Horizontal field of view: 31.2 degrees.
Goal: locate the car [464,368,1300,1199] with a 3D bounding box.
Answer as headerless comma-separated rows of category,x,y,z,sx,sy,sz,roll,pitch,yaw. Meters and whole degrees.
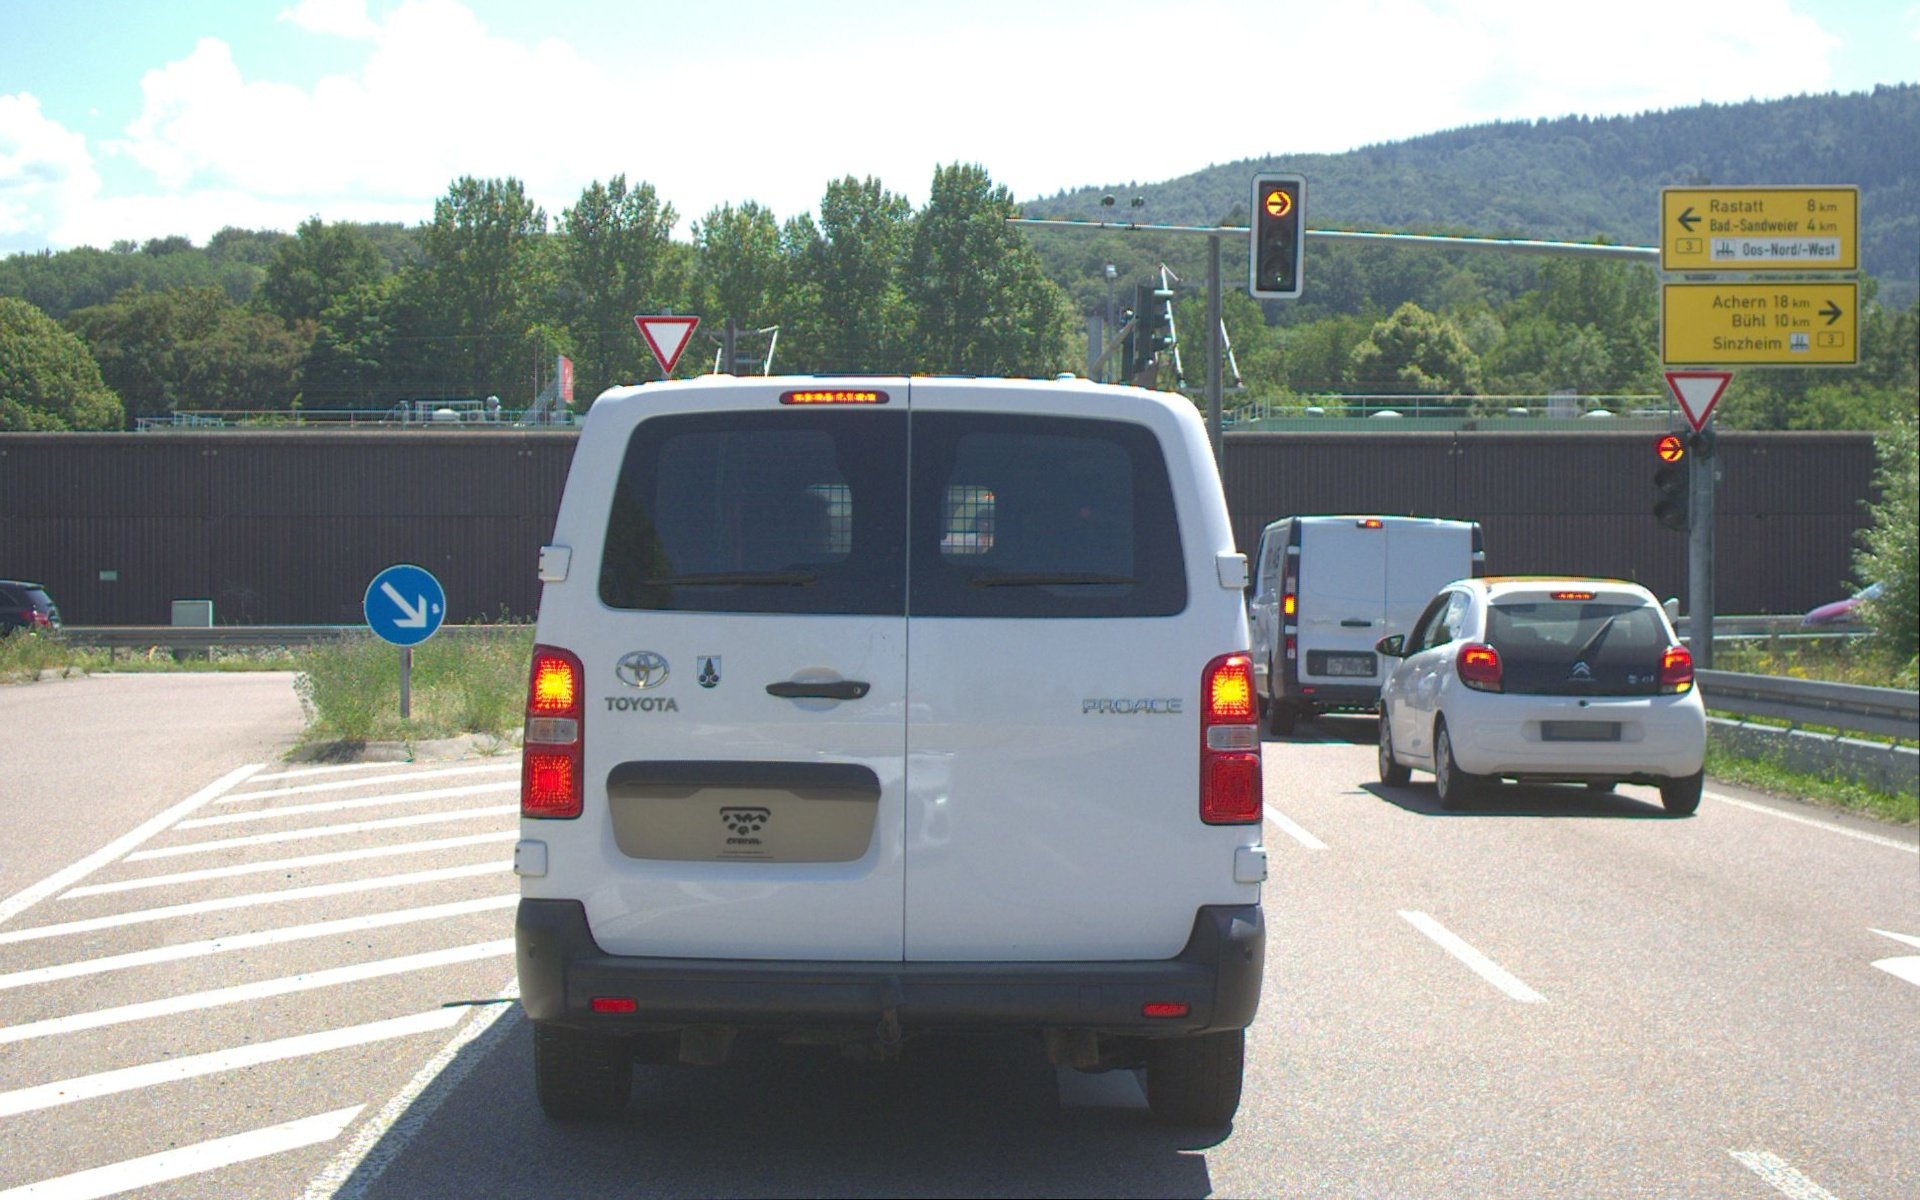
car,-0.201,0.409,9.871,1.886,1.880,4.000,1,0,-1

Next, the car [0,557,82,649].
car,-16.645,0.016,56.525,3.986,1.480,2.000,1,0,-4

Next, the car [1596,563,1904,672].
car,12.352,0.269,53.943,4.309,1.651,2.000,0,0,-3

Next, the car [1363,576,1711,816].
car,3.690,0.571,22.505,1.656,1.426,3.366,1,0,-1

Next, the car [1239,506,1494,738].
car,3.743,0.173,32.395,1.928,1.993,4.837,1,0,2

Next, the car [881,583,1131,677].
car,0.730,0.480,56.598,3.986,1.480,2.000,1,0,-2
